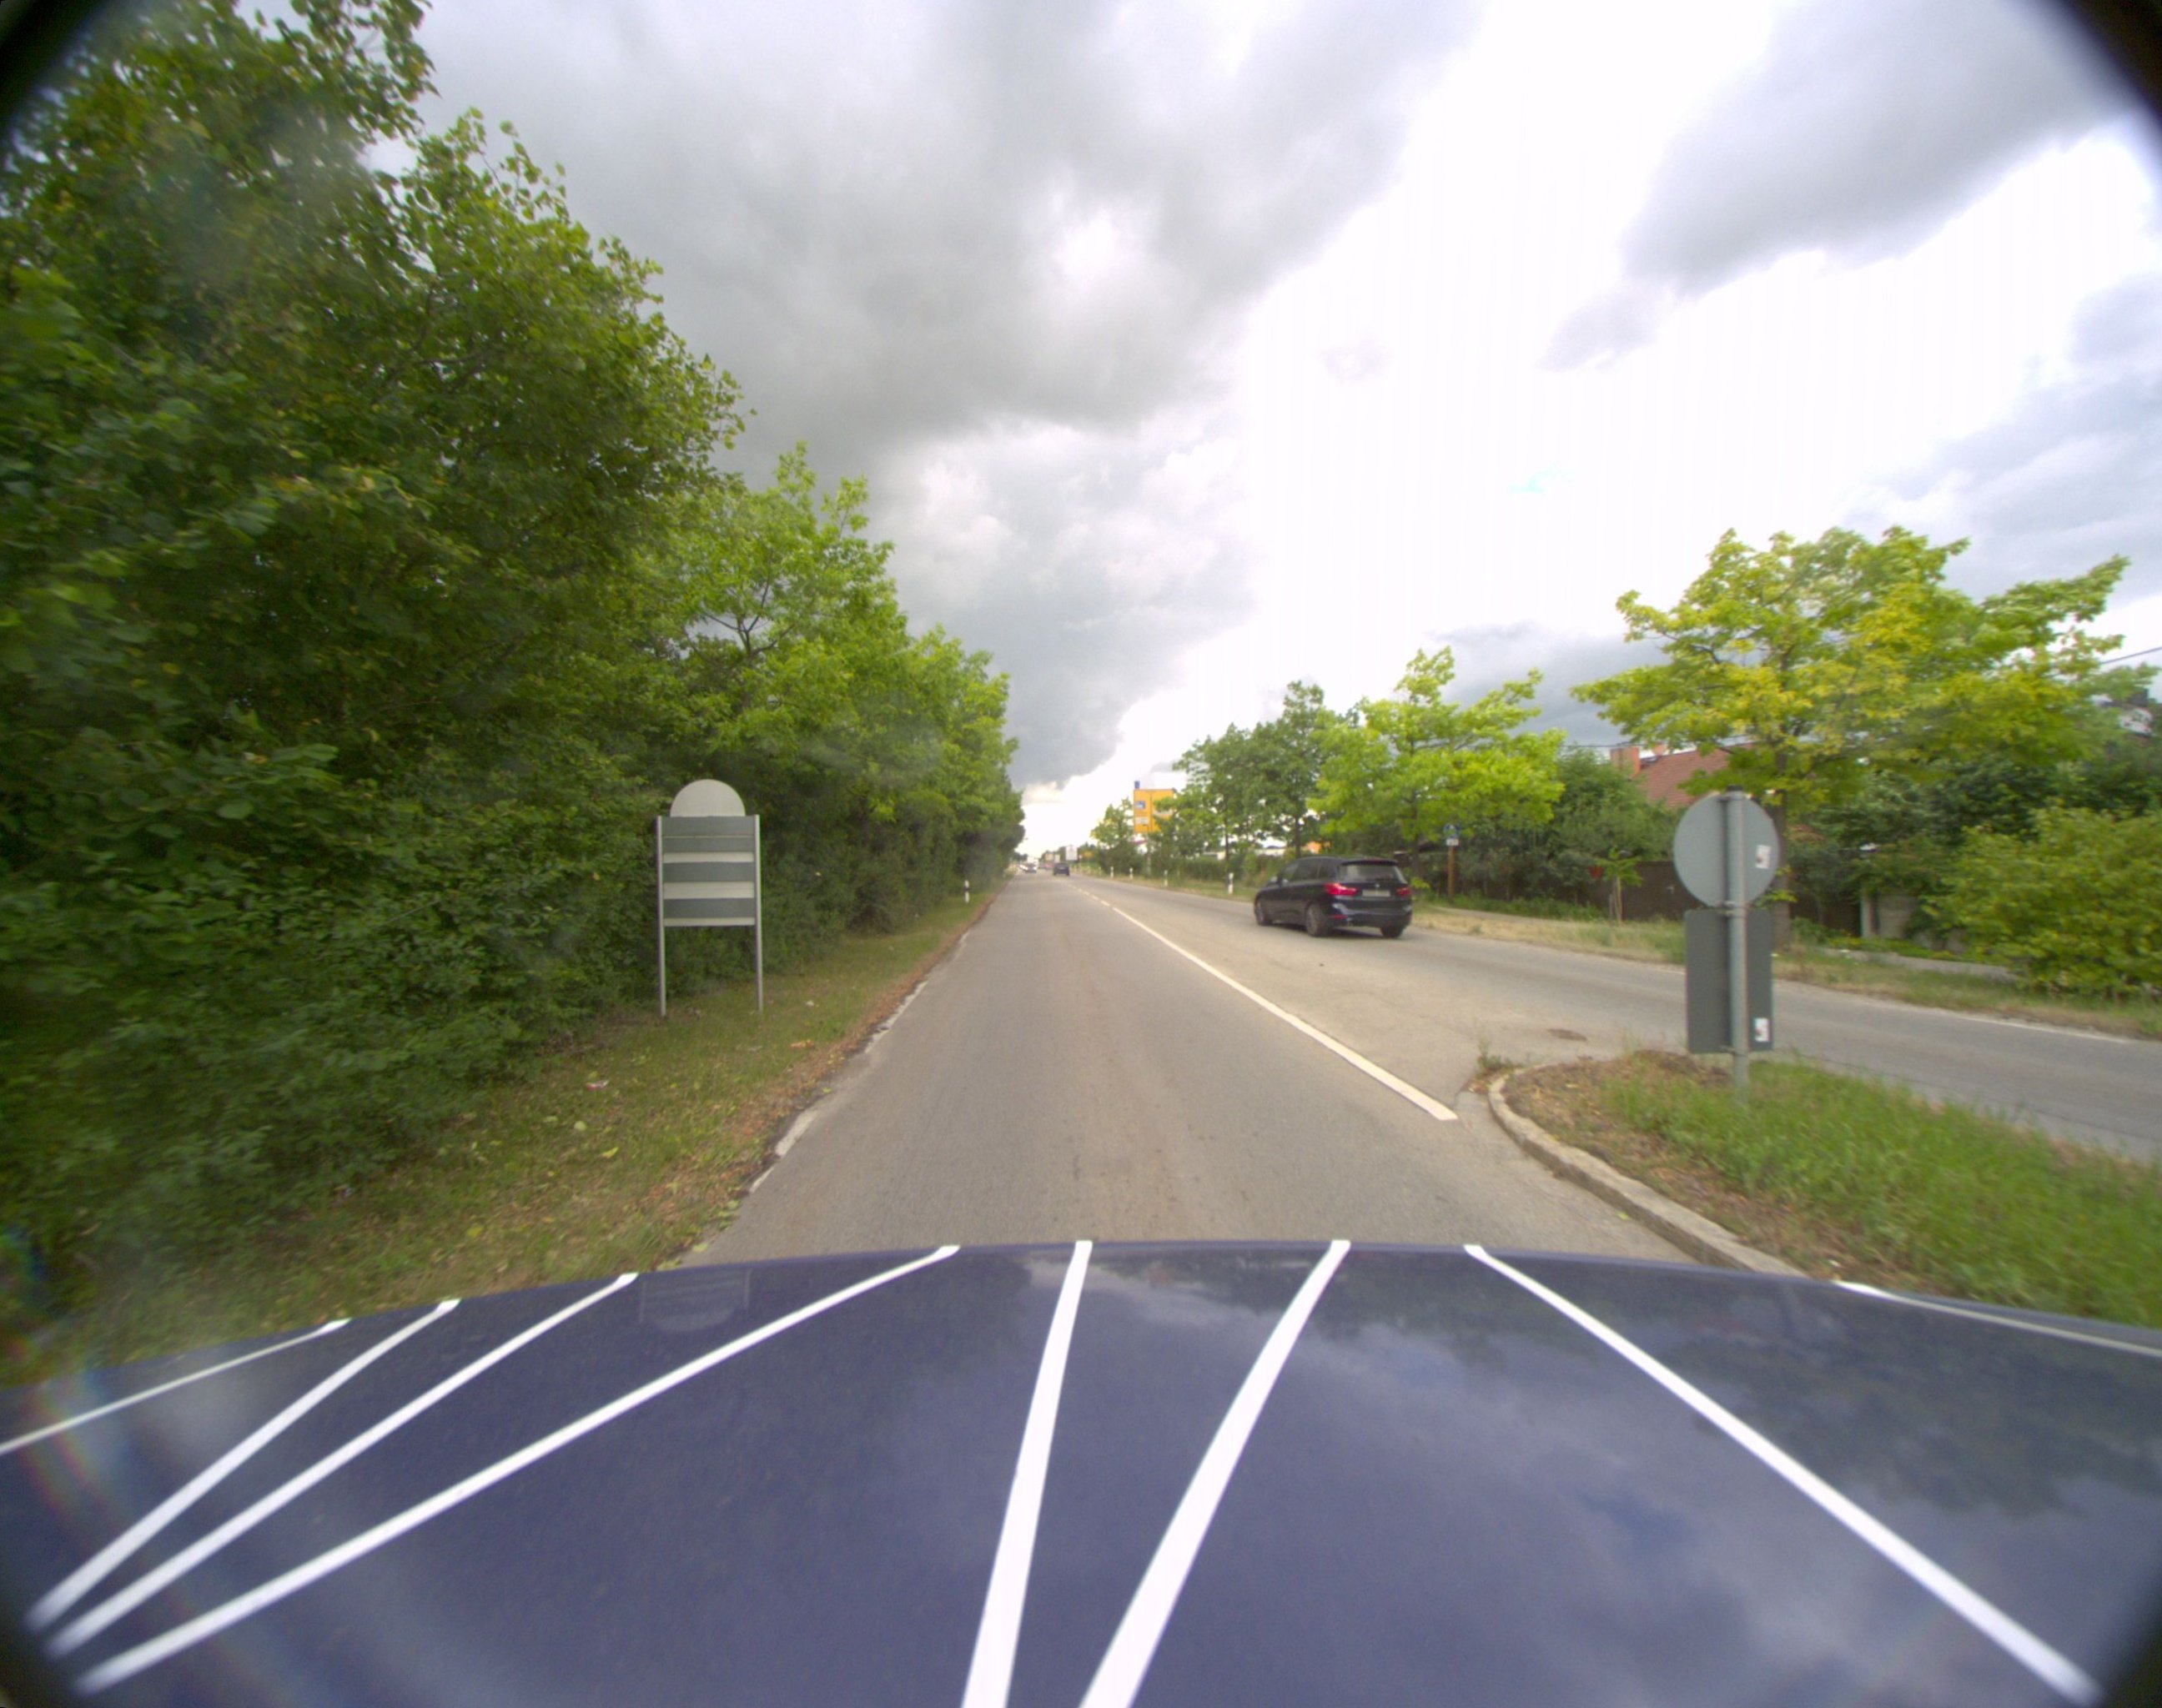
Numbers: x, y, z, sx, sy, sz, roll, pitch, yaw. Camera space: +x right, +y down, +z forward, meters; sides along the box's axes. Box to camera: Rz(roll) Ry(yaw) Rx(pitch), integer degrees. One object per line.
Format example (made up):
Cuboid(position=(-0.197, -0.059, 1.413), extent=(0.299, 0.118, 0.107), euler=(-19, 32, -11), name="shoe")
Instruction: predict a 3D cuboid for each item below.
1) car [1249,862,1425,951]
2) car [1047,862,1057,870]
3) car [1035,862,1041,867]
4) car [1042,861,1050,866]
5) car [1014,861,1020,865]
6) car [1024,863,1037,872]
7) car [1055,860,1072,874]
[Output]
Cuboid(position=(5.136, 0.971, 15.938), extent=(1.743, 1.576, 4.353), euler=(0, 0, -8), name="car")
Cuboid(position=(-5.659, 2.360, 148.637), extent=(1.821, 1.485, 4.202), euler=(0, -1, -5), name="car")
Cuboid(position=(-12.362, 3.098, 218.043), extent=(1.778, 1.365, 4.098), euler=(1, 0, -4), name="car")
Cuboid(position=(-8.858, 2.366, 190.477), extent=(1.858, 1.455, 4.369), euler=(0, 0, -5), name="car")
Cuboid(position=(-19.239, 2.751, 230.027), extent=(1.778, 1.406, 4.078), euler=(1, 0, -4), name="car")
Cuboid(position=(-7.718, 2.014, 116.181), extent=(1.870, 1.352, 3.825), euler=(-1, 0, -4), name="car")
Cuboid(position=(-2.040, 1.469, 87.144), extent=(1.738, 1.525, 4.094), euler=(1, -1, -4), name="car")
